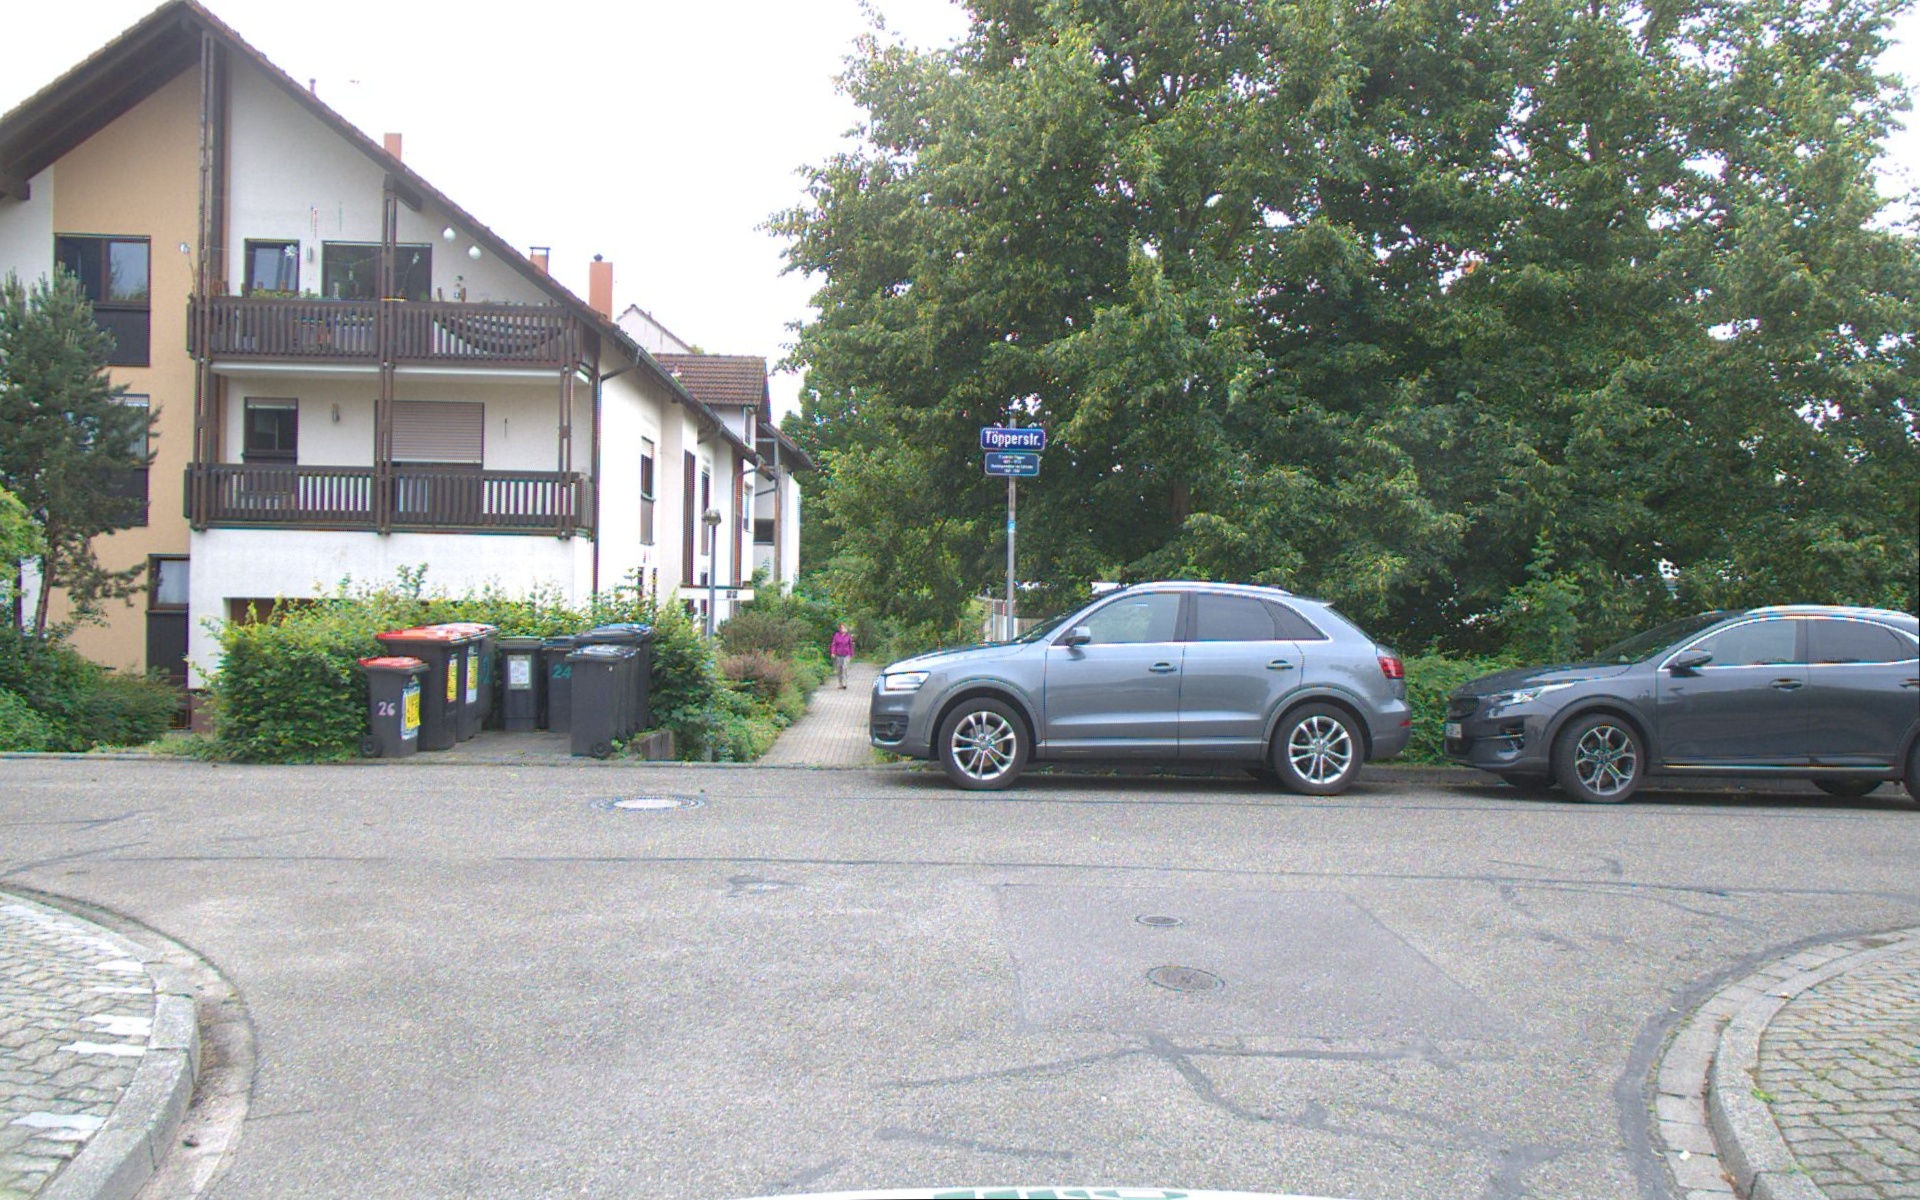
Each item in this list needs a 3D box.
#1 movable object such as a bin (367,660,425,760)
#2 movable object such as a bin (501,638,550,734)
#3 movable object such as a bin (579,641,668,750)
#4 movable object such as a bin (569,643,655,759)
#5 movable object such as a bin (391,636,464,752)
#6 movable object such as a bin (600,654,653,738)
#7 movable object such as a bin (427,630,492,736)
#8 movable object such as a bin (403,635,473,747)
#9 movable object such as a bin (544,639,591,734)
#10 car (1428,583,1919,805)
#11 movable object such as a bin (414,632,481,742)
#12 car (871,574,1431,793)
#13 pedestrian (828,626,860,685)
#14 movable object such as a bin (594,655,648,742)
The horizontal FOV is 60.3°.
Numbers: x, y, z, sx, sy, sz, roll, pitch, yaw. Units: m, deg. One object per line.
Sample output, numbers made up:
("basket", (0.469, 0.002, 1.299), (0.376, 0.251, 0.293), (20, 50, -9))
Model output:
("movable object such as a bin", (-4.972, 0.964, 14.582), (0.378, 0.851, 0.379), (2, 0, -5))
("movable object such as a bin", (-4.301, 0.850, 16.390), (0.378, 0.917, 0.379), (2, 0, -5))
("movable object such as a bin", (-3.170, 0.891, 15.617), (0.719, 0.970, 0.584), (2, 0, -3))
("movable object such as a bin", (-3.123, 0.898, 14.903), (0.625, 0.970, 0.722), (2, 0, -3))
("movable object such as a bin", (-4.829, 0.846, 15.011), (0.526, 1.011, 0.379), (2, 0, -5))
("movable object such as a bin", (-3.339, 0.958, 16.568), (0.450, 0.811, 0.379), (2, 0, -5))
("movable object such as a bin", (-4.898, 0.809, 16.197), (0.526, 1.011, 0.337), (2, 0, -5))
("movable object such as a bin", (-4.852, 0.842, 15.386), (0.526, 1.011, 0.337), (2, 0, -5))
("movable object such as a bin", (-3.892, 0.855, 16.418), (0.378, 0.905, 0.379), (2, 0, -5))
("car", (5.919, 0.707, 12.867), (4.094, 1.558, 1.748), (1, -2, 2))
("movable object such as a bin", (-4.874, 0.822, 15.743), (0.526, 1.011, 0.337), (2, 0, -5))
("car", (1.398, 0.642, 13.094), (4.152, 1.558, 1.746), (1, -2, -3))
("pedestrian", (-3.038, 1.449, 43.343), (0.799, 1.544, 0.438), (1, -1, -5))
("movable object such as a bin", (-3.309, 0.962, 16.163), (0.450, 0.811, 0.379), (2, 0, -5))
